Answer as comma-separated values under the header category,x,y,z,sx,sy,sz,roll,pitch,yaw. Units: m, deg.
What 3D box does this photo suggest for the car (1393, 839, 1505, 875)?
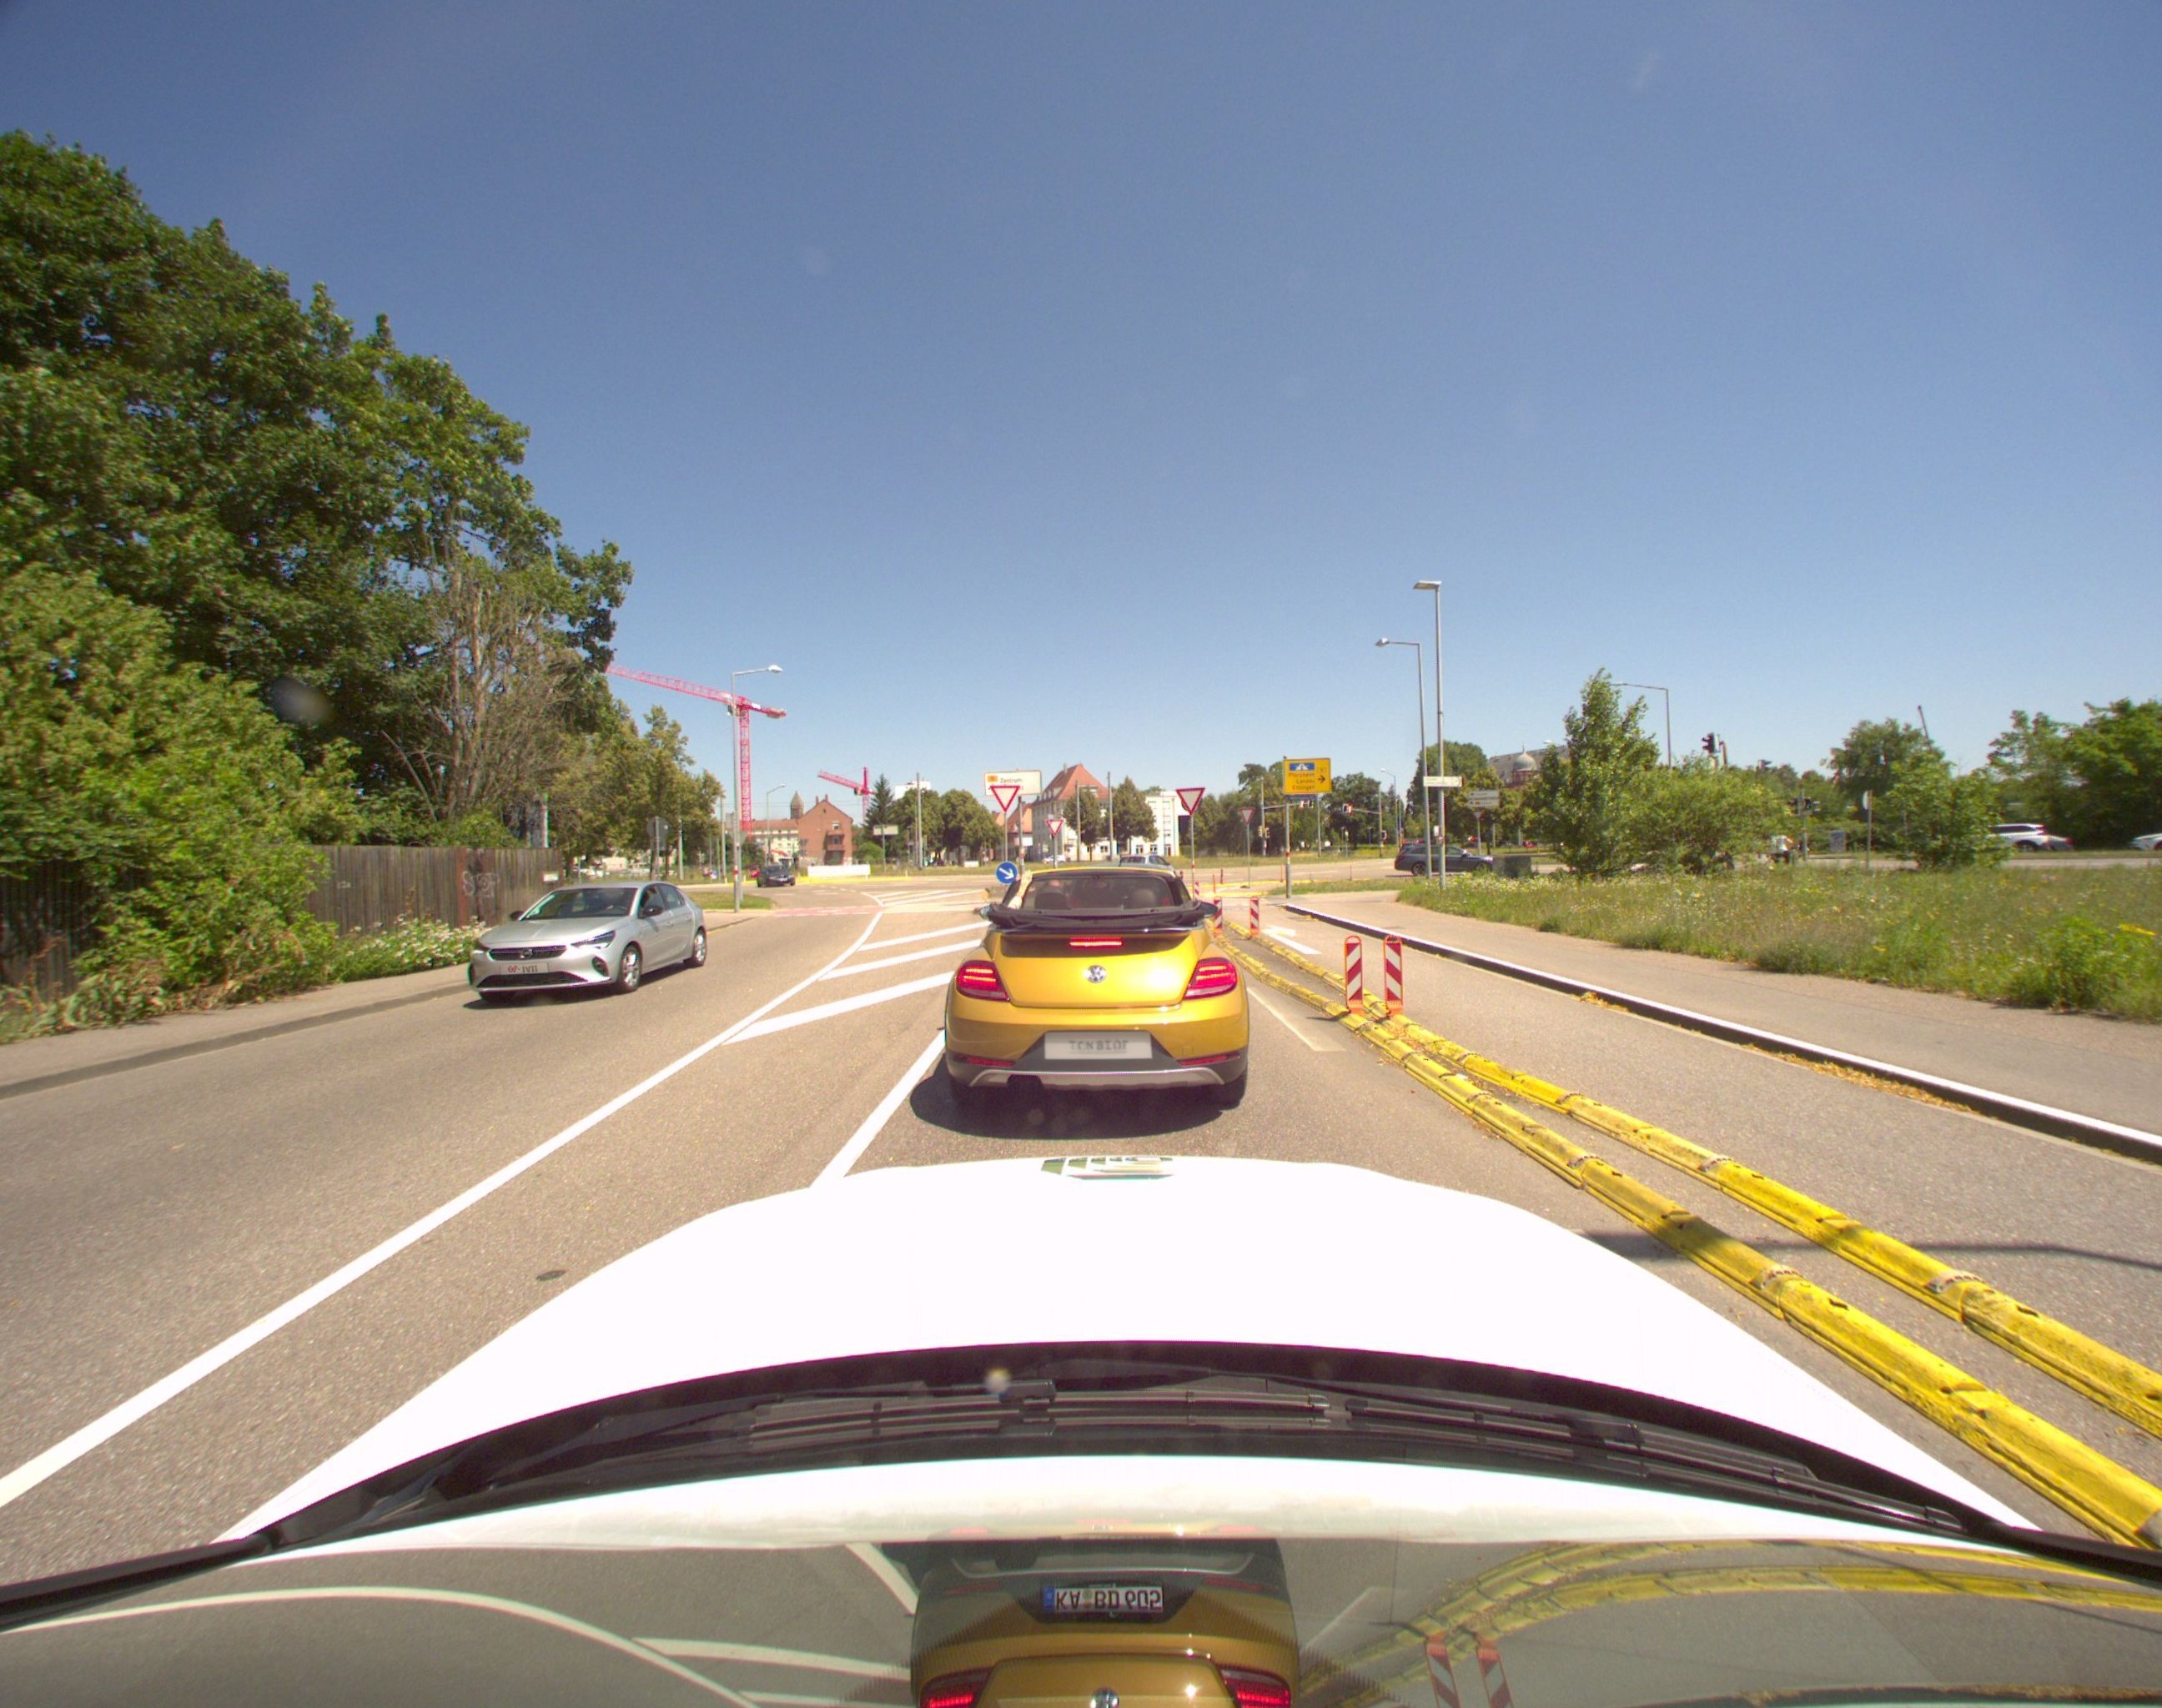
category,x,y,z,sx,sy,sz,roll,pitch,yaw
car,16.995,0.139,37.850,4.492,1.481,2.081,-2,0,17

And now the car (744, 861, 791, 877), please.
category,x,y,z,sx,sy,sz,roll,pitch,yaw
car,-34.012,1.609,88.360,1.876,1.654,4.374,-1,-1,39

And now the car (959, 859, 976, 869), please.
category,x,y,z,sx,sy,sz,roll,pitch,yaw
car,-22.706,1.985,162.939,1.996,2.070,5.288,0,-1,-22

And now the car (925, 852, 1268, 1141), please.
category,x,y,z,sx,sy,sz,roll,pitch,yaw
car,0.144,0.754,6.334,1.758,1.481,4.259,0,-1,2

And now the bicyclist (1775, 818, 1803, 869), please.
category,x,y,z,sx,sy,sz,roll,pitch,yaw
bicyclist,25.889,-0.363,29.786,0.573,1.841,0.603,0,-1,-29

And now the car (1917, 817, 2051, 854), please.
category,x,y,z,sx,sy,sz,roll,pitch,yaw
car,45.828,-0.911,41.483,4.389,1.736,1.860,-1,-1,43

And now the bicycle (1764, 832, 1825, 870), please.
category,x,y,z,sx,sy,sz,roll,pitch,yaw
bicycle,25.923,-0.103,29.569,2.902,1.353,0.635,0,-1,-28

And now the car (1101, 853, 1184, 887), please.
category,x,y,z,sx,sy,sz,roll,pitch,yaw
car,2.725,0.655,34.977,2.046,1.382,4.283,-1,-1,27

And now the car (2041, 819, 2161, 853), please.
category,x,y,z,sx,sy,sz,roll,pitch,yaw
car,51.492,-0.851,40.655,4.389,1.592,1.860,-1,-1,43

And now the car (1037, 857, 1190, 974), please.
category,x,y,z,sx,sy,sz,roll,pitch,yaw
car,0.468,0.768,12.200,1.844,1.366,4.260,-2,0,2

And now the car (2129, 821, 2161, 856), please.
category,x,y,z,sx,sy,sz,roll,pitch,yaw
car,51.310,-0.737,36.923,4.389,1.592,1.860,-1,-1,43

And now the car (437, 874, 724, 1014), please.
category,x,y,z,sx,sy,sz,roll,pitch,yaw
car,-6.726,1.088,11.581,1.725,1.402,4.262,-3,0,-6

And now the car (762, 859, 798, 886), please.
category,x,y,z,sx,sy,sz,roll,pitch,yaw
car,-19.988,1.196,54.220,1.752,1.706,3.981,0,-1,-14

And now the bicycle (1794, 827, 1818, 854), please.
category,x,y,z,sx,sy,sz,roll,pitch,yaw
bicycle,43.976,-0.783,49.390,0.972,1.597,2.900,-1,-1,43

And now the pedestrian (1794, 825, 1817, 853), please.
category,x,y,z,sx,sy,sz,roll,pitch,yaw
pedestrian,44.007,-0.910,49.459,0.959,1.660,0.892,-1,-1,44
